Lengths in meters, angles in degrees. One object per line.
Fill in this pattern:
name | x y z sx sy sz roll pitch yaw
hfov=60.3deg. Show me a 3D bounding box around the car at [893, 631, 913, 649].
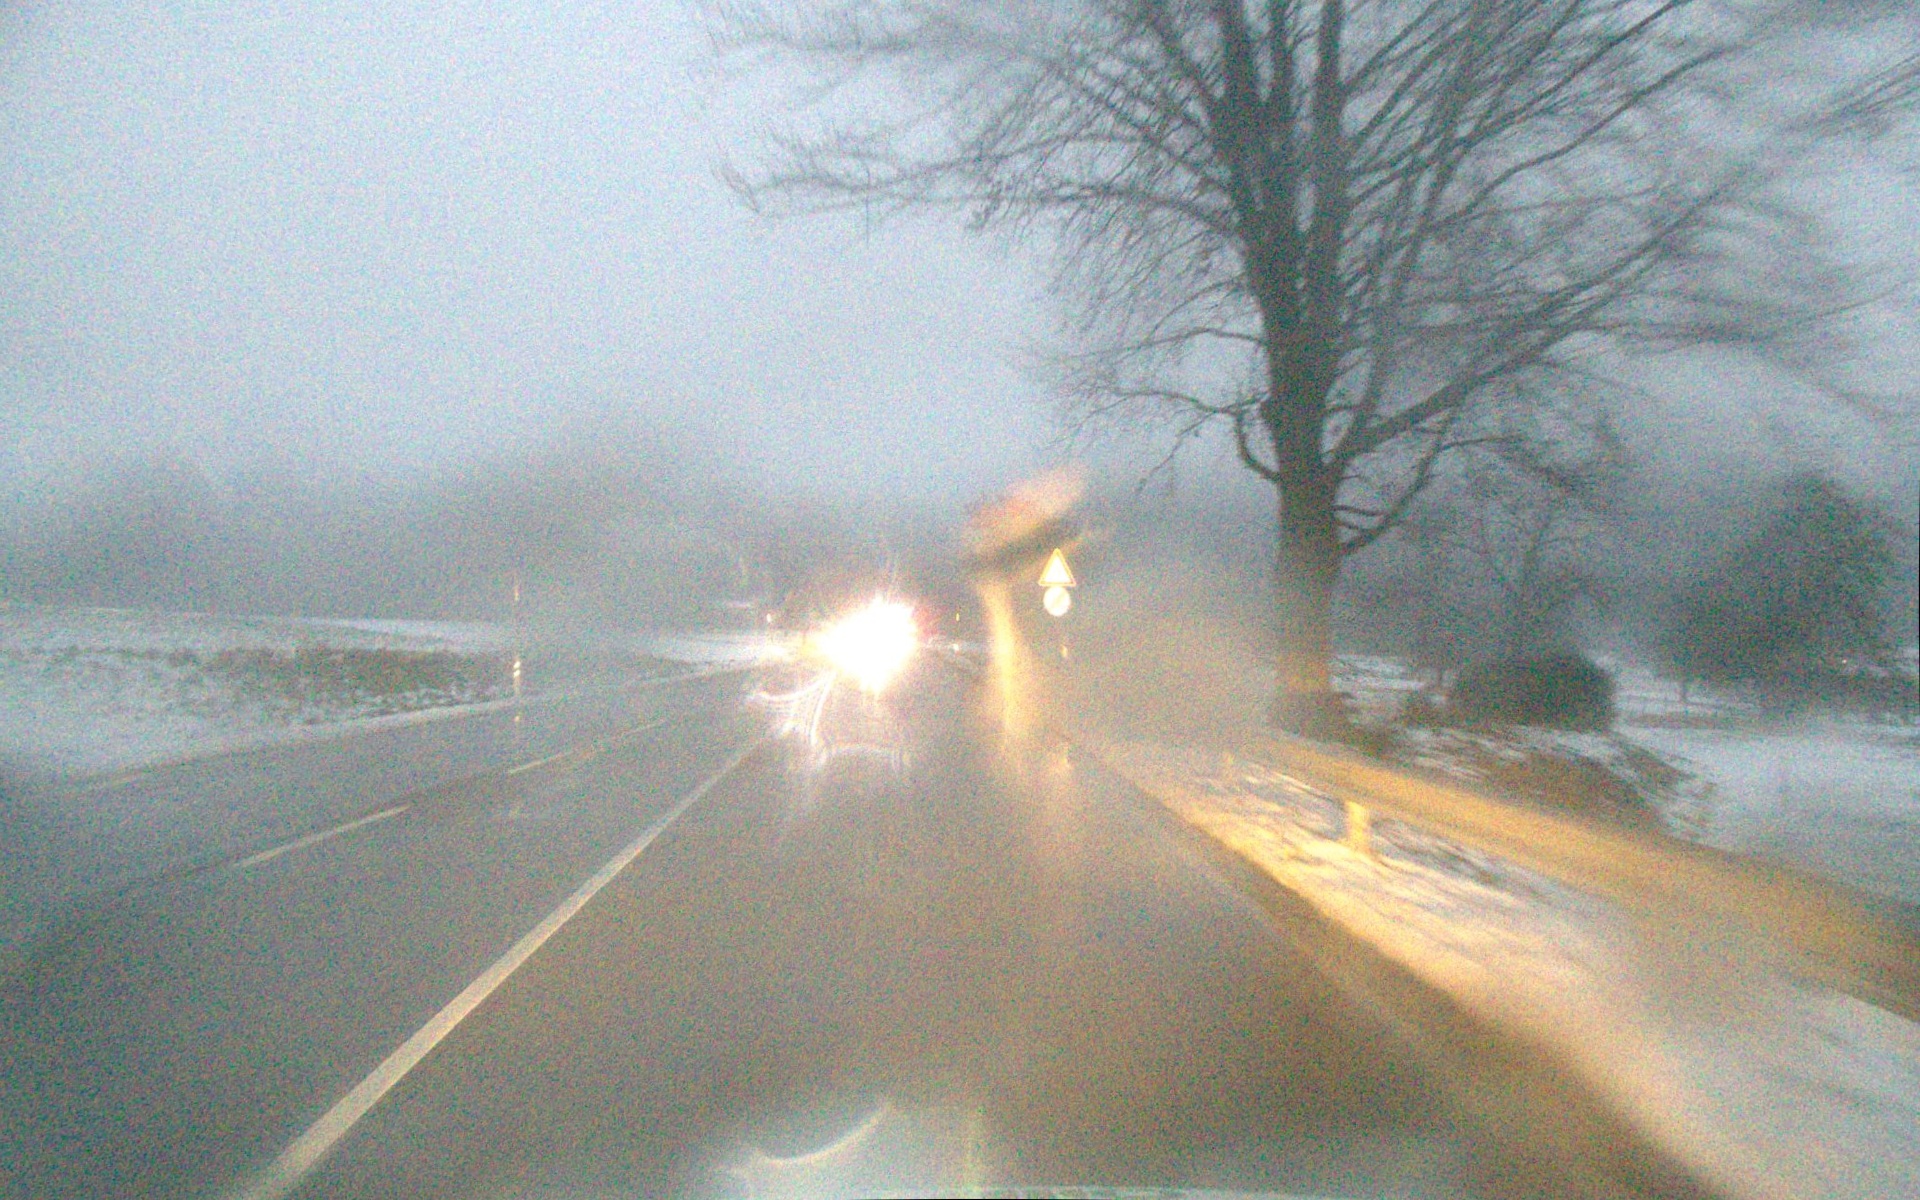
car | -5.275 3.698 153.606 1.657 1.579 3.856 1 0 1
